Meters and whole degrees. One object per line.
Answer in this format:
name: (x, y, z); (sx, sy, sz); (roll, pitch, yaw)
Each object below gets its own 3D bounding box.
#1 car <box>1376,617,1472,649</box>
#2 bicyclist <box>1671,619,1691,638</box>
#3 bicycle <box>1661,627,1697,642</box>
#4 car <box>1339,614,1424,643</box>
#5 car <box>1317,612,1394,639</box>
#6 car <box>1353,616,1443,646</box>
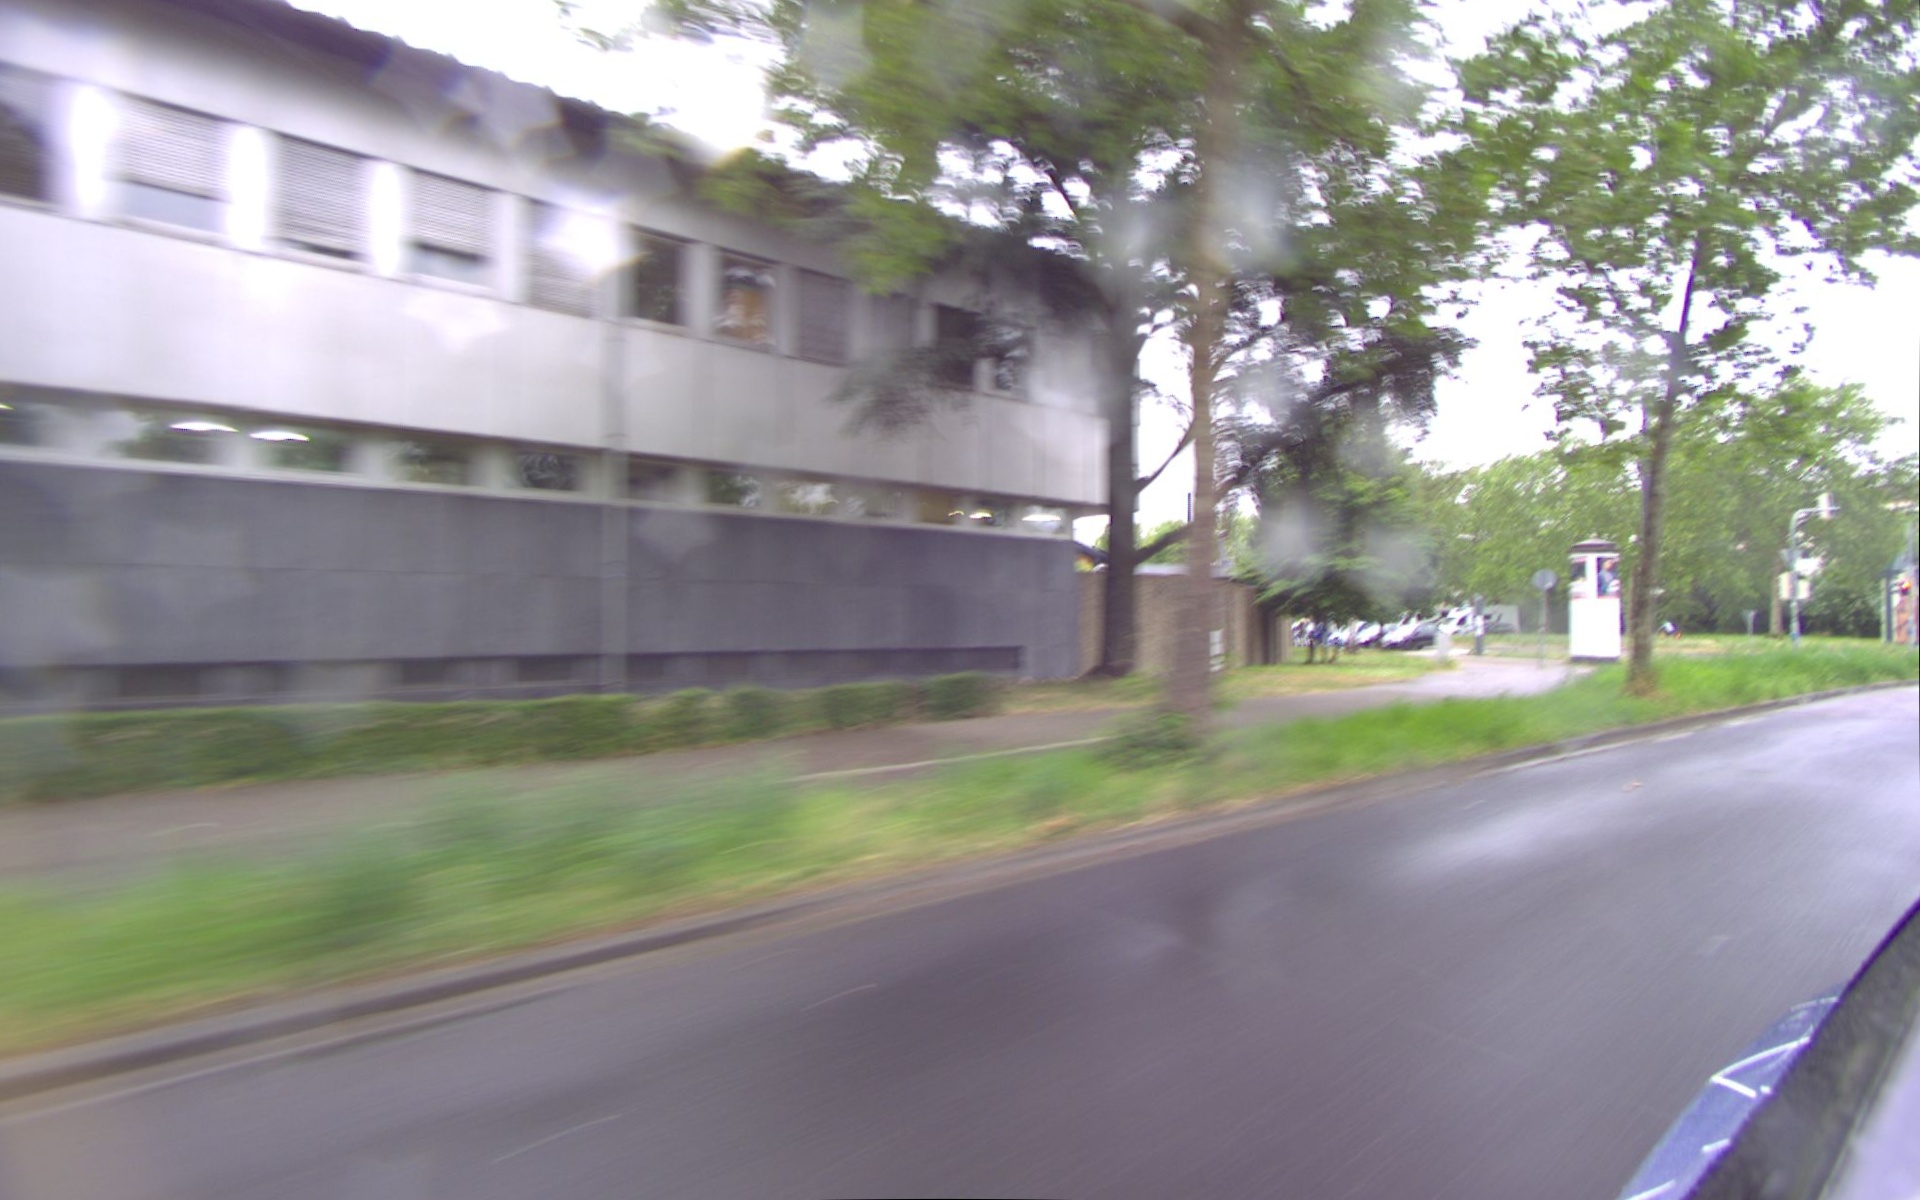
car: (25.069, 1.739, 54.839); (4.462, 1.650, 1.988); (0, -1, 19)
bicyclist: (44.728, 1.789, 62.804); (0.668, 1.159, 0.745); (0, -1, -12)
bicycle: (44.701, 2.153, 62.962); (0.668, 0.896, 1.868); (0, -1, -12)
car: (24.986, 1.689, 60.174); (4.462, 1.650, 1.988); (0, -1, 19)
car: (25.453, 1.638, 65.284); (4.462, 1.650, 1.988); (0, -1, 19)
car: (24.656, 1.720, 57.178); (4.462, 1.650, 1.988); (0, -1, 19)
